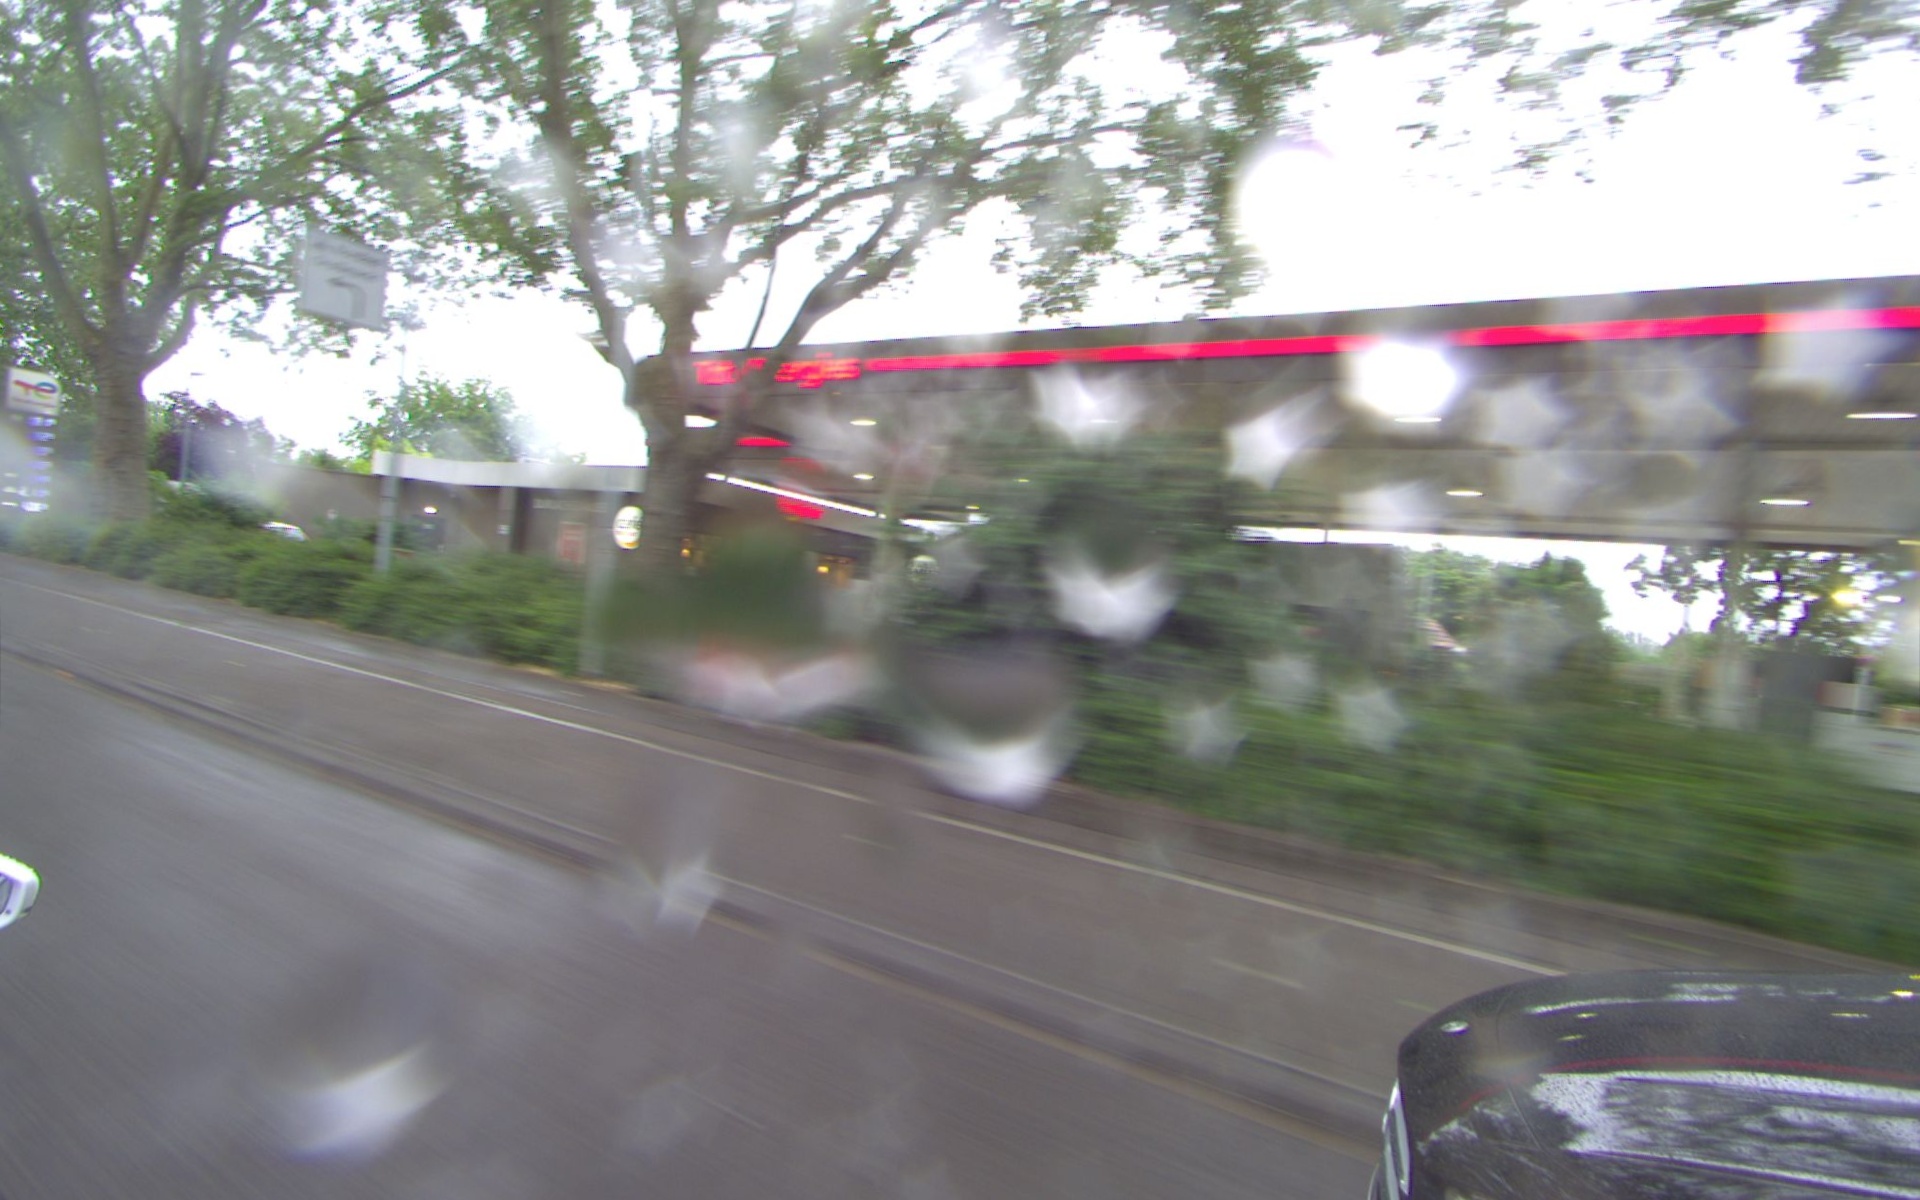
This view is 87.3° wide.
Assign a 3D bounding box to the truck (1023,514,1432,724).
[{"bbox_3d":[5.531,0.309,21.317,7.638,3.391,2.700,7,-1,30],"label":"truck"}]

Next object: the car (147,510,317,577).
[{"bbox_3d":[-20.712,-1.580,28.743,3.495,1.449,1.606,6,-1,-10],"label":"car"}]

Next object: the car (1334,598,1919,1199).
[{"bbox_3d":[2.787,1.089,0.992,4.347,1.548,1.820,7,-1,30],"label":"car"}]
